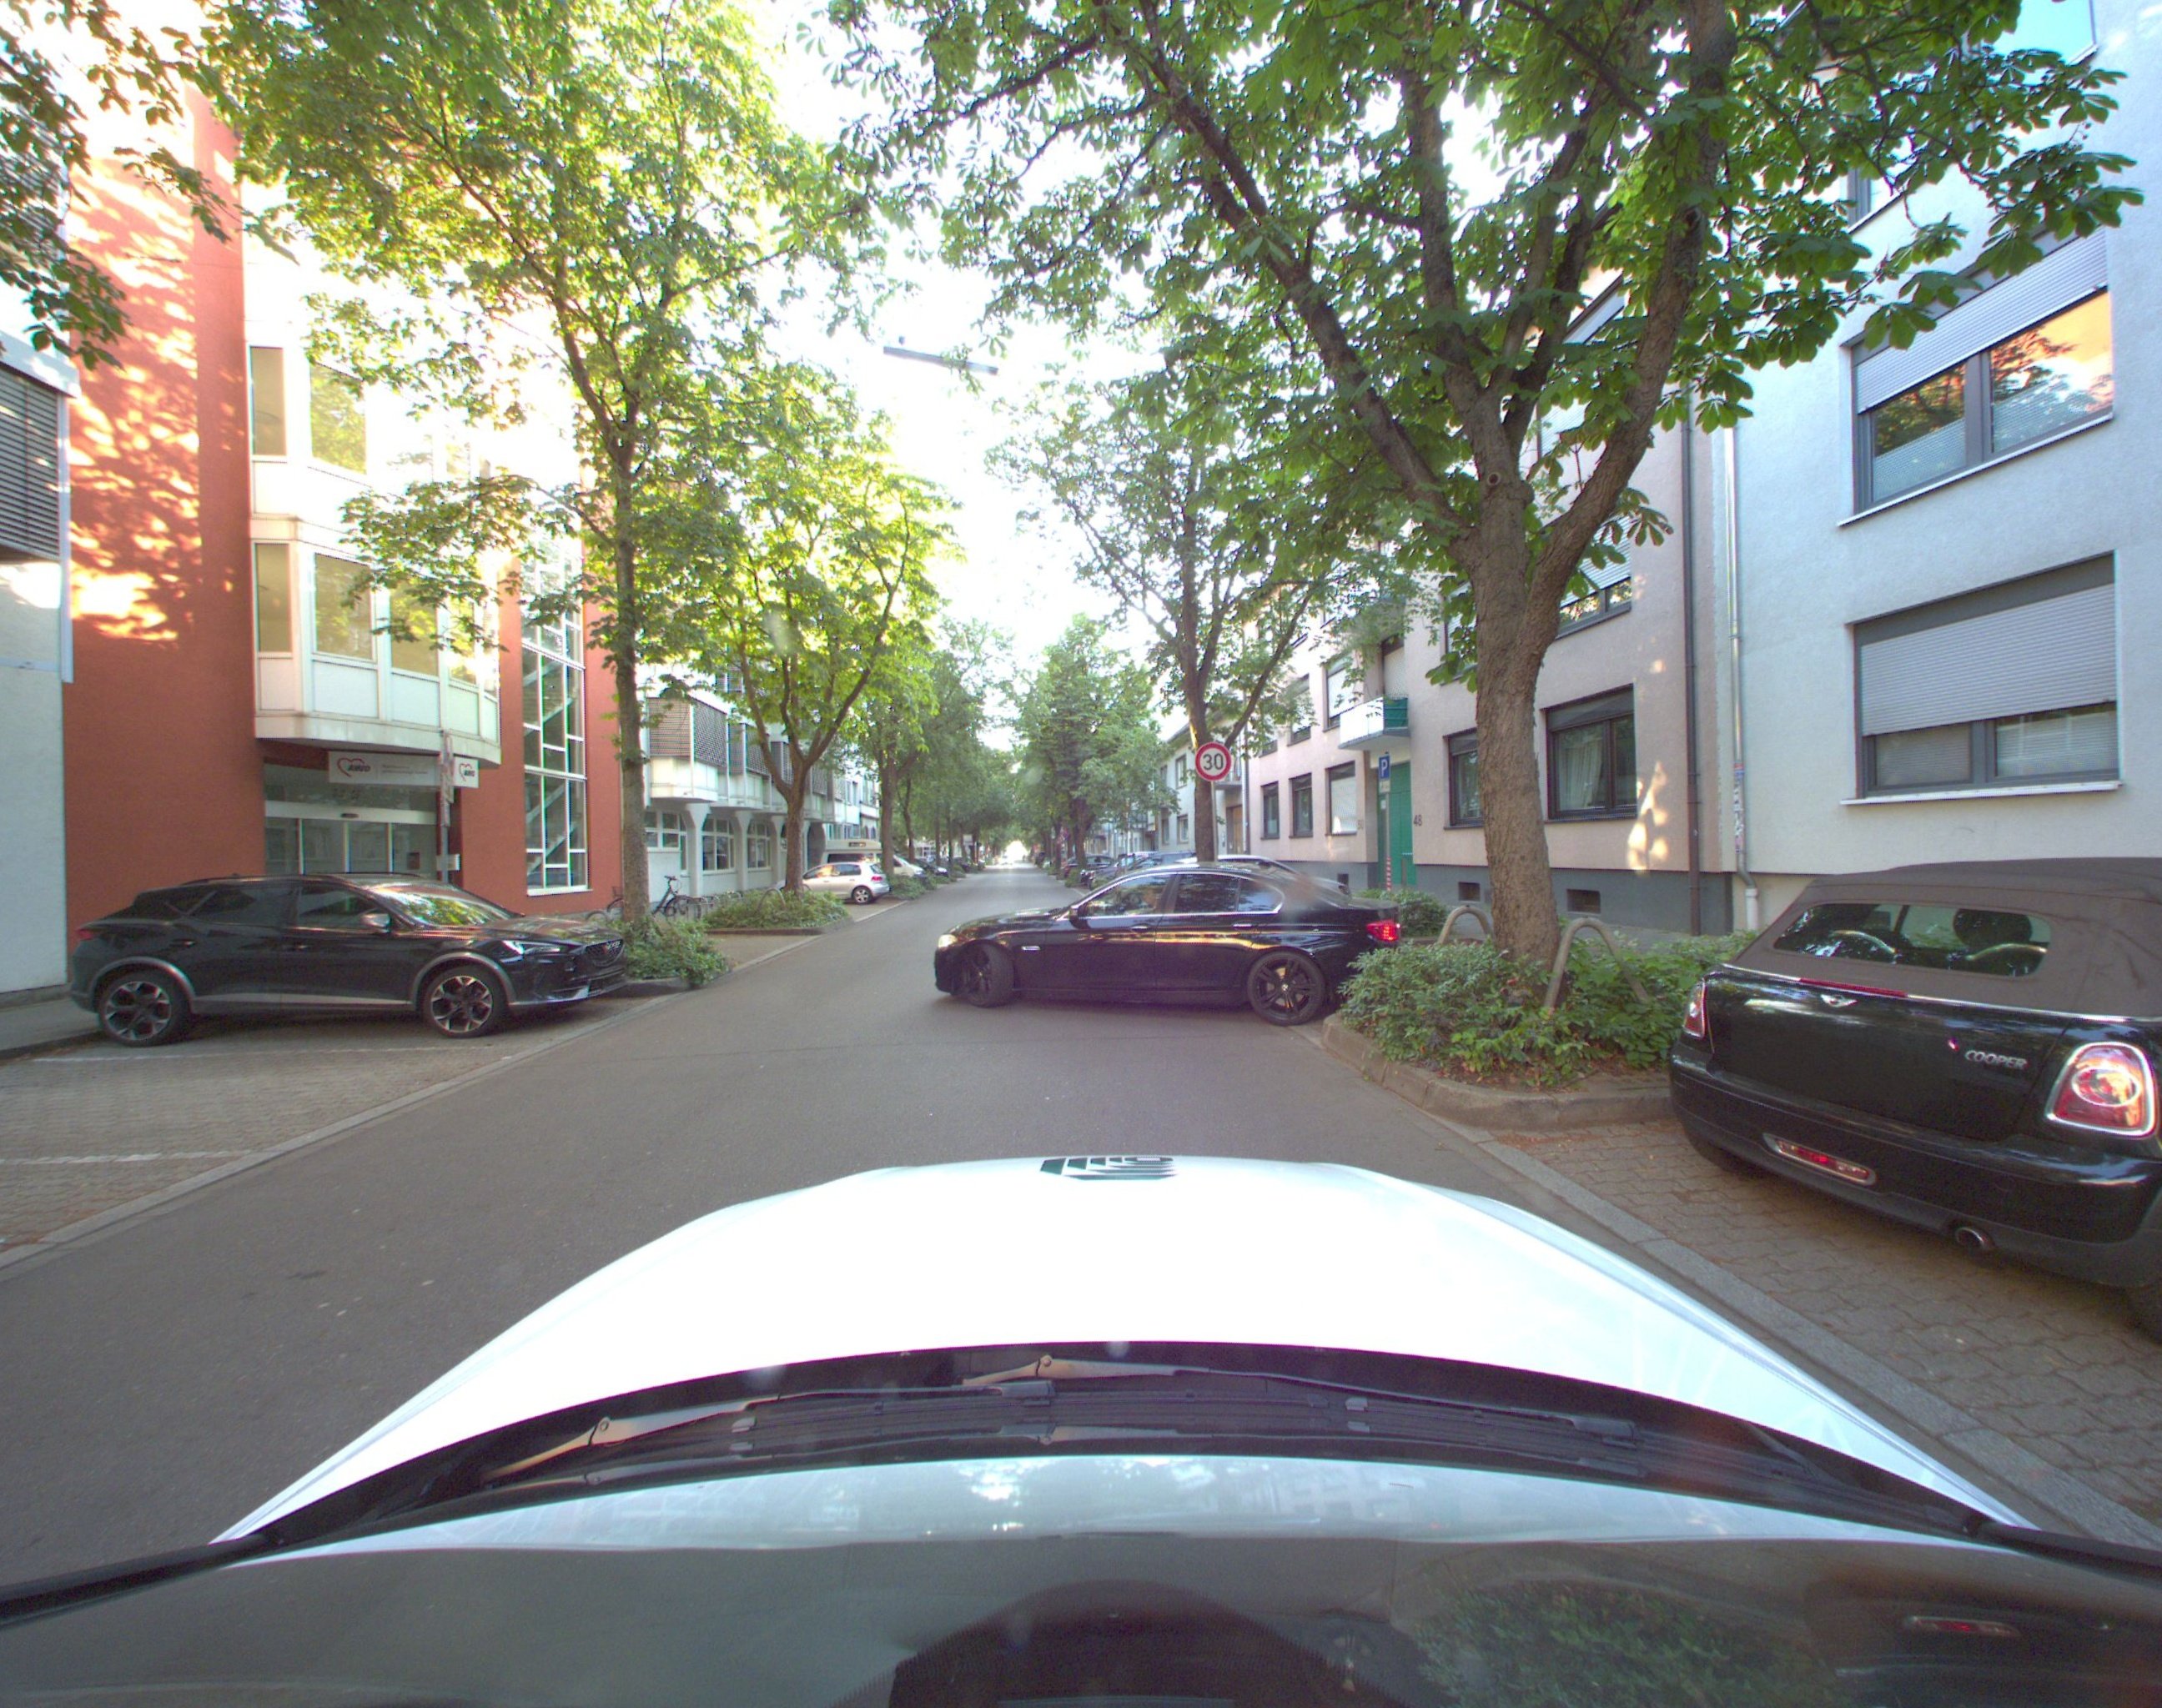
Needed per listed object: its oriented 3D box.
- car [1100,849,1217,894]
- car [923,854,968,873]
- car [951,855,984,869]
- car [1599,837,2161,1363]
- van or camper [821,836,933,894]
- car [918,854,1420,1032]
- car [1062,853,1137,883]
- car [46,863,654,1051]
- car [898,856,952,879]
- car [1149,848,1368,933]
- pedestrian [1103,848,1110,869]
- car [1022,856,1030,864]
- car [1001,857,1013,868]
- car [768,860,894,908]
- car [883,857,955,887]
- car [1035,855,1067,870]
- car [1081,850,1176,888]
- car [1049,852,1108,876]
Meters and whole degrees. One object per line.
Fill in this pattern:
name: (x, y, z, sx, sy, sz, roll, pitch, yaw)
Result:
car: (2.794, 0.628, 29.761, 3.963, 1.476, 1.781, -2, 0, -7)
car: (-12.718, 0.859, 76.643, 3.959, 1.619, 1.783, -2, 0, -4)
car: (-14.389, 0.977, 103.281, 3.959, 1.619, 1.783, -2, 0, -4)
car: (4.345, 0.630, 3.270, 3.608, 1.363, 1.660, -2, 0, -8)
van or camper: (-9.292, 0.480, 37.420, 4.656, 2.478, 1.997, -1, 0, -5)
car: (0.882, 0.806, 8.439, 4.707, 1.480, 1.808, -1, 0, 18)
car: (1.018, 0.743, 45.085, 3.962, 1.527, 1.782, -2, 0, -5)
car: (-7.025, 0.925, 8.275, 4.347, 1.517, 1.782, -2, 0, -5)
car: (-12.396, 1.066, 64.970, 3.959, 1.619, 1.783, -2, 0, -4)
car: (3.436, 0.673, 16.120, 3.904, 1.476, 1.661, -2, 0, -7)
pedestrian: (2.414, 0.412, 77.090, 0.587, 2.013, 0.669, -1, 0, -3)
car: (-11.637, 1.191, 172.426, 1.819, 1.530, 3.995, -2, 0, -4)
car: (-11.711, 1.343, 129.247, 1.775, 1.562, 4.162, -1, 0, -4)
car: (-8.848, 1.036, 29.086, 3.960, 1.517, 1.783, -2, 0, -4)
car: (-9.593, 1.040, 48.423, 3.960, 1.619, 1.783, -2, 0, -4)
car: (-3.722, 1.059, 101.055, 3.959, 1.684, 1.783, -2, 0, -4)
car: (2.076, 0.666, 36.243, 3.962, 1.527, 1.782, -2, 0, -5)
car: (-0.173, 0.660, 56.989, 3.963, 1.527, 1.781, -2, 0, -6)
